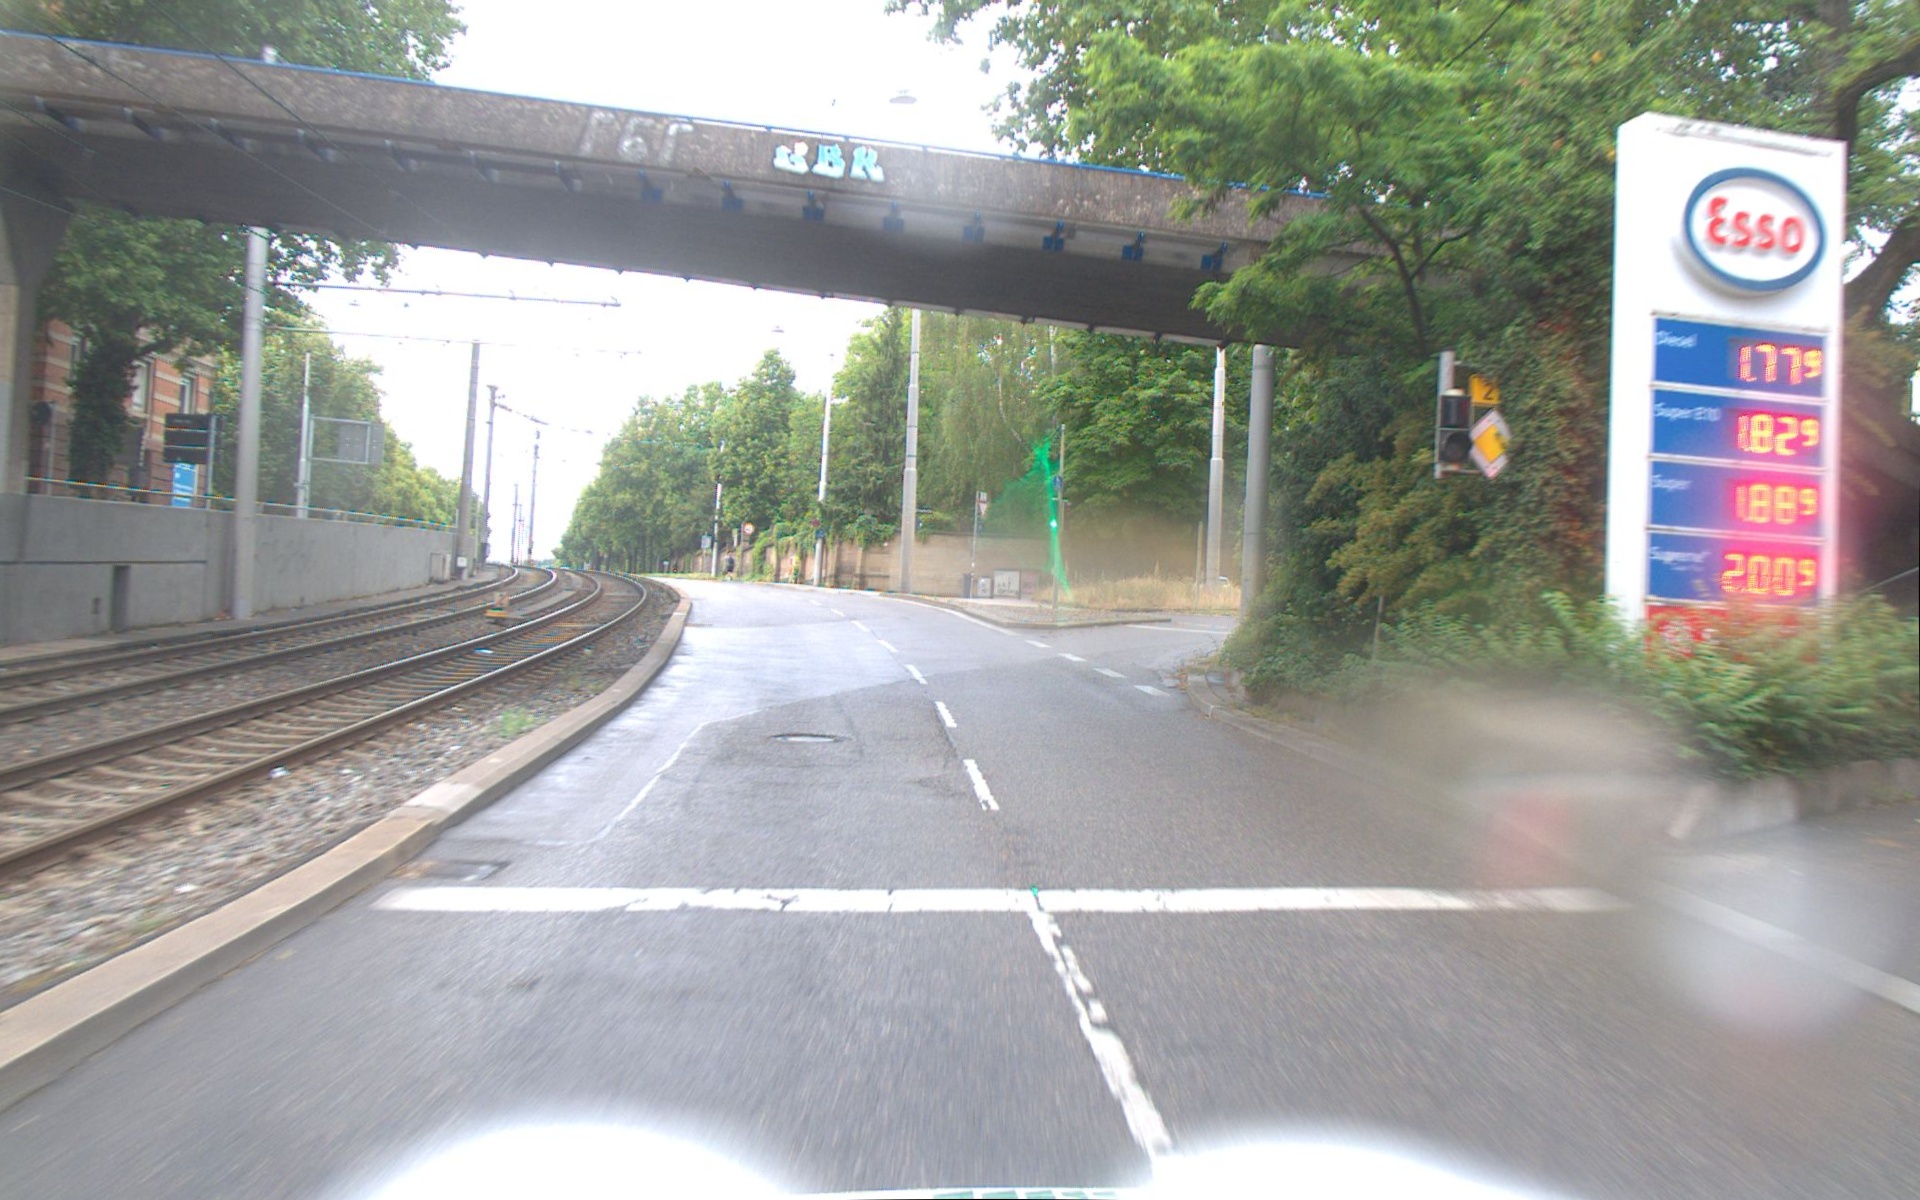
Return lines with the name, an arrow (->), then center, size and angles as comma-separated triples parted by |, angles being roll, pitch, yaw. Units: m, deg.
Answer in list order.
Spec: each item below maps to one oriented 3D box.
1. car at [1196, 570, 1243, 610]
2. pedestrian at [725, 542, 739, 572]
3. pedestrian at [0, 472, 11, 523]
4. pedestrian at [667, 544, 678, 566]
car -> 10.149, -0.384, 64.762 | 1.716, 1.431, 4.003 | 2, 0, 9
pedestrian -> -14.941, -2.808, 108.232 | 0.708, 1.882, 0.780 | 4, -1, -16
pedestrian -> -25.758, -2.748, 44.419 | 0.328, 1.357, 0.503 | 1, 2, -10
pedestrian -> -23.272, -3.665, 133.857 | 0.708, 1.716, 0.726 | 4, -1, -16
